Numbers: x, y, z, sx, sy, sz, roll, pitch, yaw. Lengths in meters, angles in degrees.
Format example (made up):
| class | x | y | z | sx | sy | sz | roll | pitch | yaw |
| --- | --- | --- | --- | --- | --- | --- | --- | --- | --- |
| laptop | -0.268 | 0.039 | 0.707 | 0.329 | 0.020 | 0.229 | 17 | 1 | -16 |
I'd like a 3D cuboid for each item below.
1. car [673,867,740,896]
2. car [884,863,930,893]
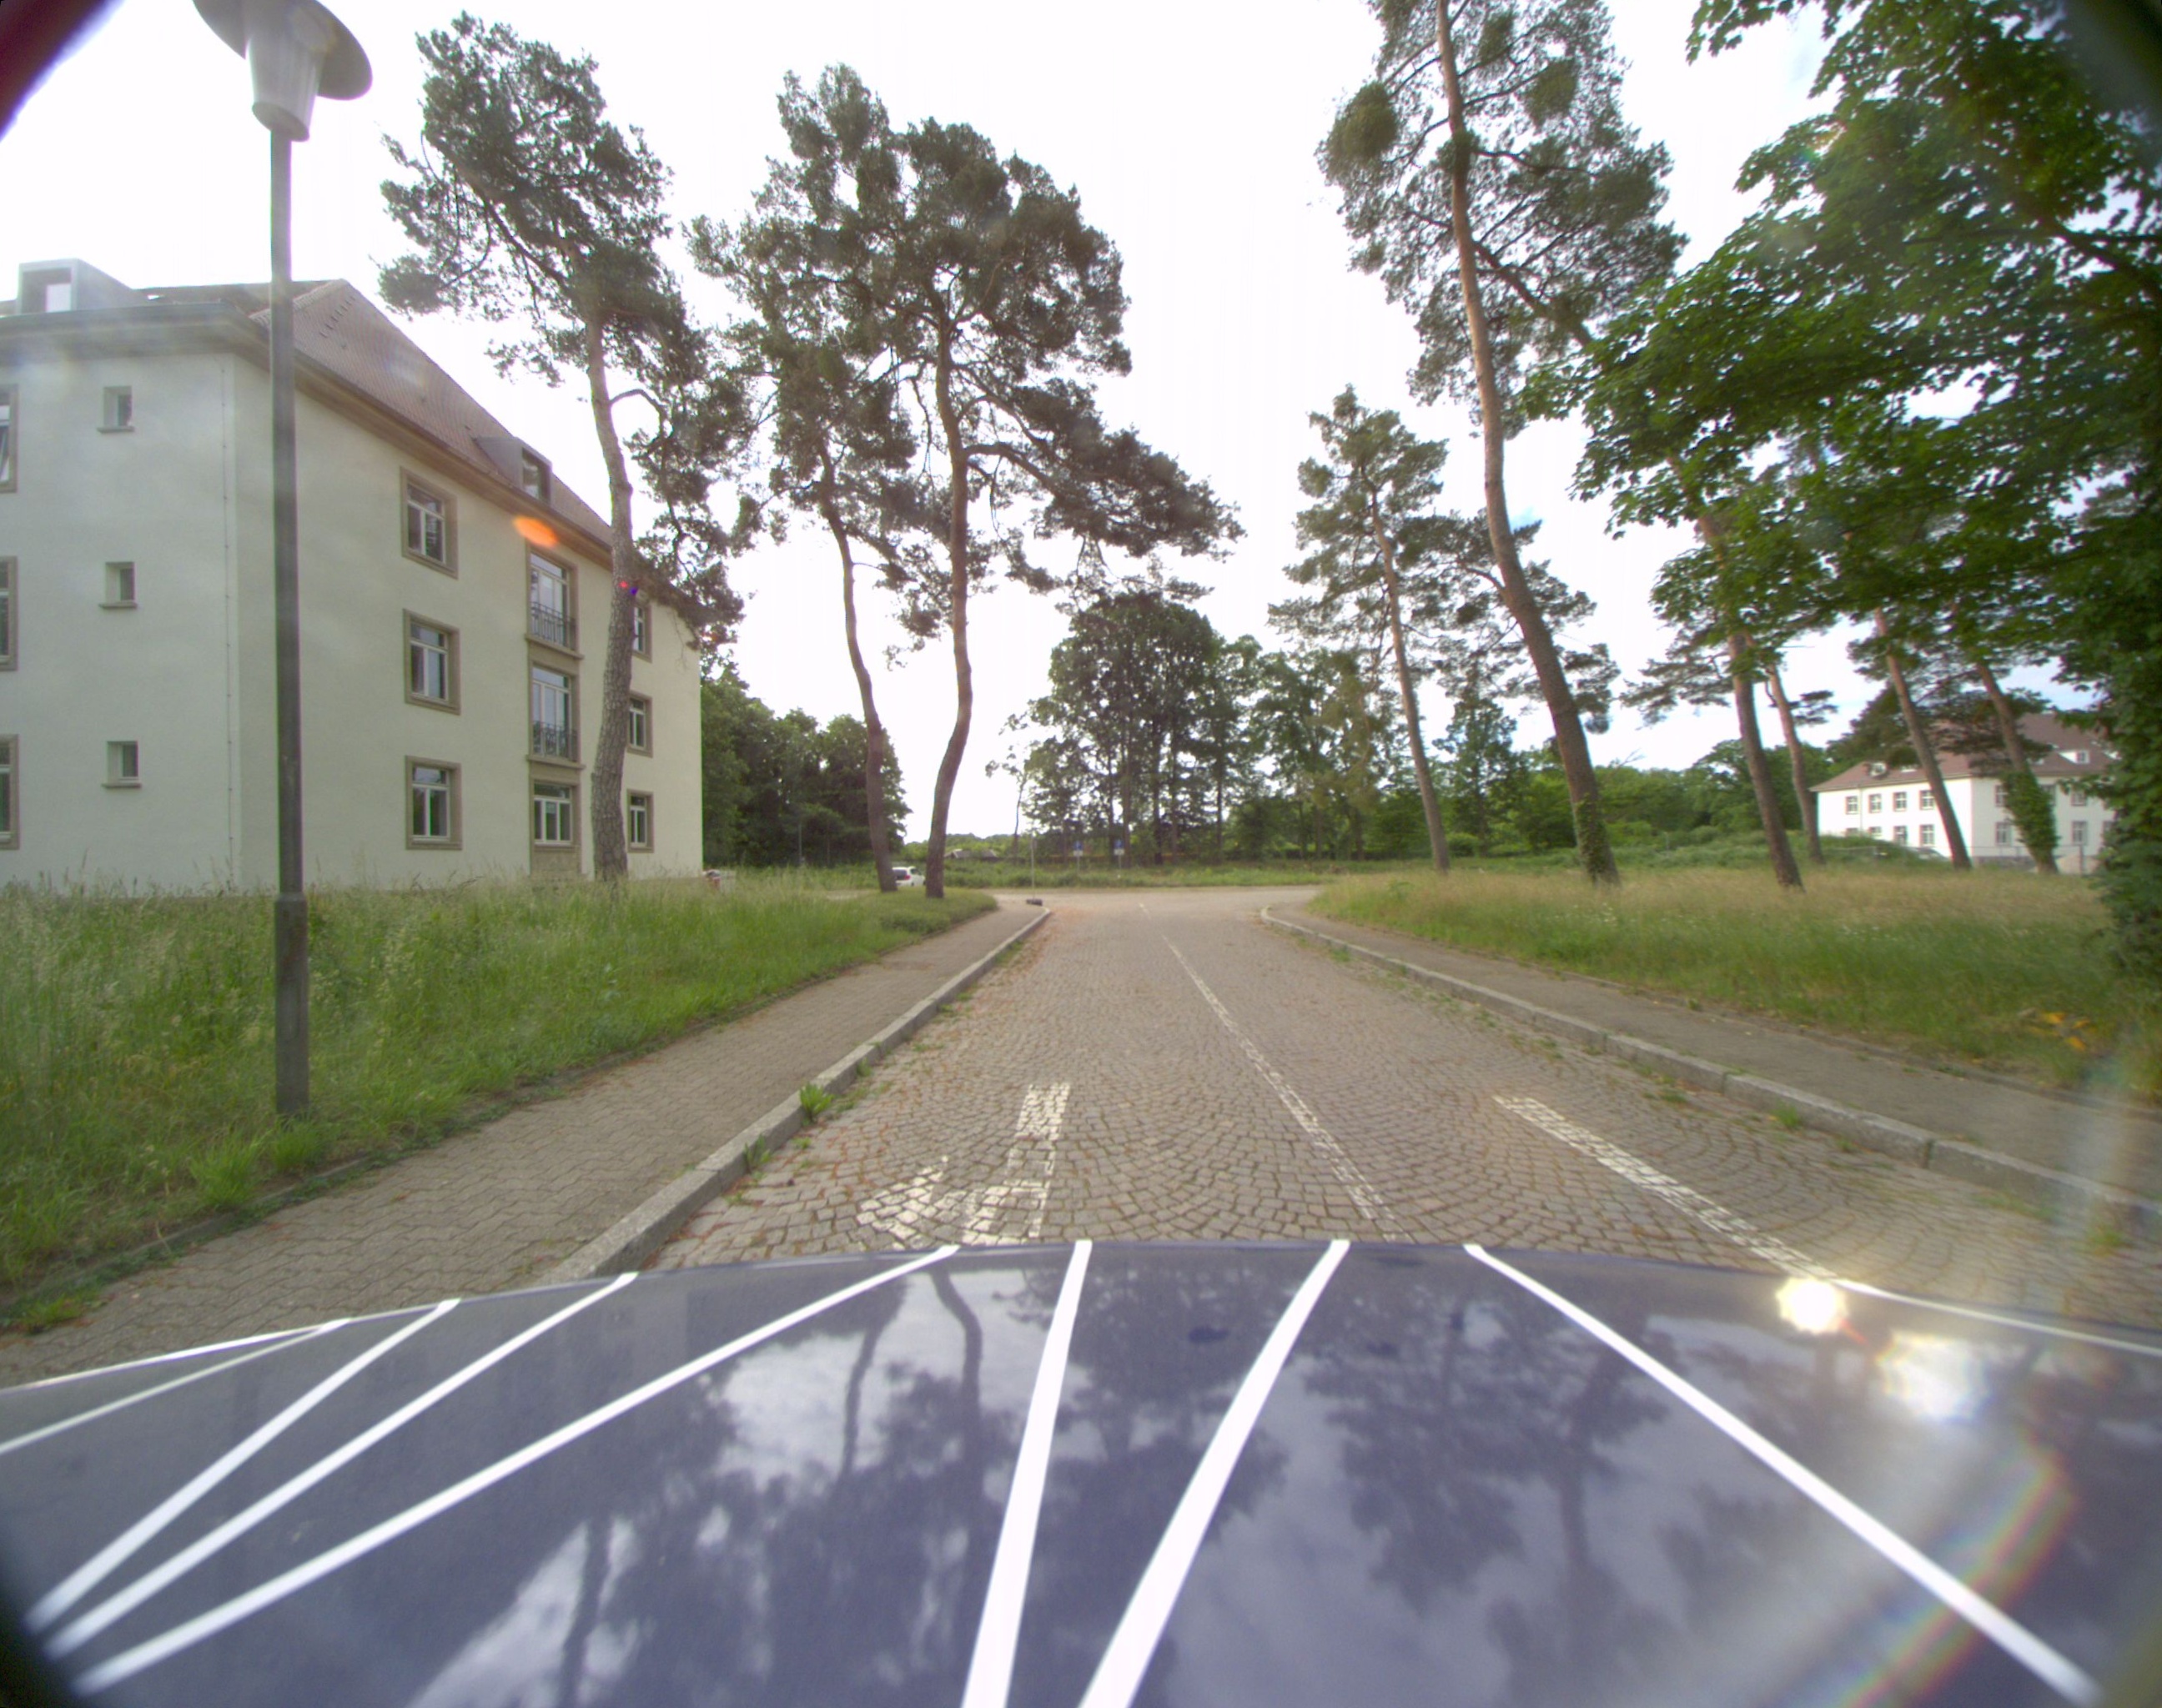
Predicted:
| class | x | y | z | sx | sy | sz | roll | pitch | yaw |
| --- | --- | --- | --- | --- | --- | --- | --- | --- | --- |
| car | -21.035 | 1.511 | 42.818 | 1.640 | 1.321 | 3.999 | -1 | 2 | 2 |
| car | -9.730 | 1.315 | 42.665 | 1.640 | 1.426 | 3.277 | -1 | 2 | 3 |
